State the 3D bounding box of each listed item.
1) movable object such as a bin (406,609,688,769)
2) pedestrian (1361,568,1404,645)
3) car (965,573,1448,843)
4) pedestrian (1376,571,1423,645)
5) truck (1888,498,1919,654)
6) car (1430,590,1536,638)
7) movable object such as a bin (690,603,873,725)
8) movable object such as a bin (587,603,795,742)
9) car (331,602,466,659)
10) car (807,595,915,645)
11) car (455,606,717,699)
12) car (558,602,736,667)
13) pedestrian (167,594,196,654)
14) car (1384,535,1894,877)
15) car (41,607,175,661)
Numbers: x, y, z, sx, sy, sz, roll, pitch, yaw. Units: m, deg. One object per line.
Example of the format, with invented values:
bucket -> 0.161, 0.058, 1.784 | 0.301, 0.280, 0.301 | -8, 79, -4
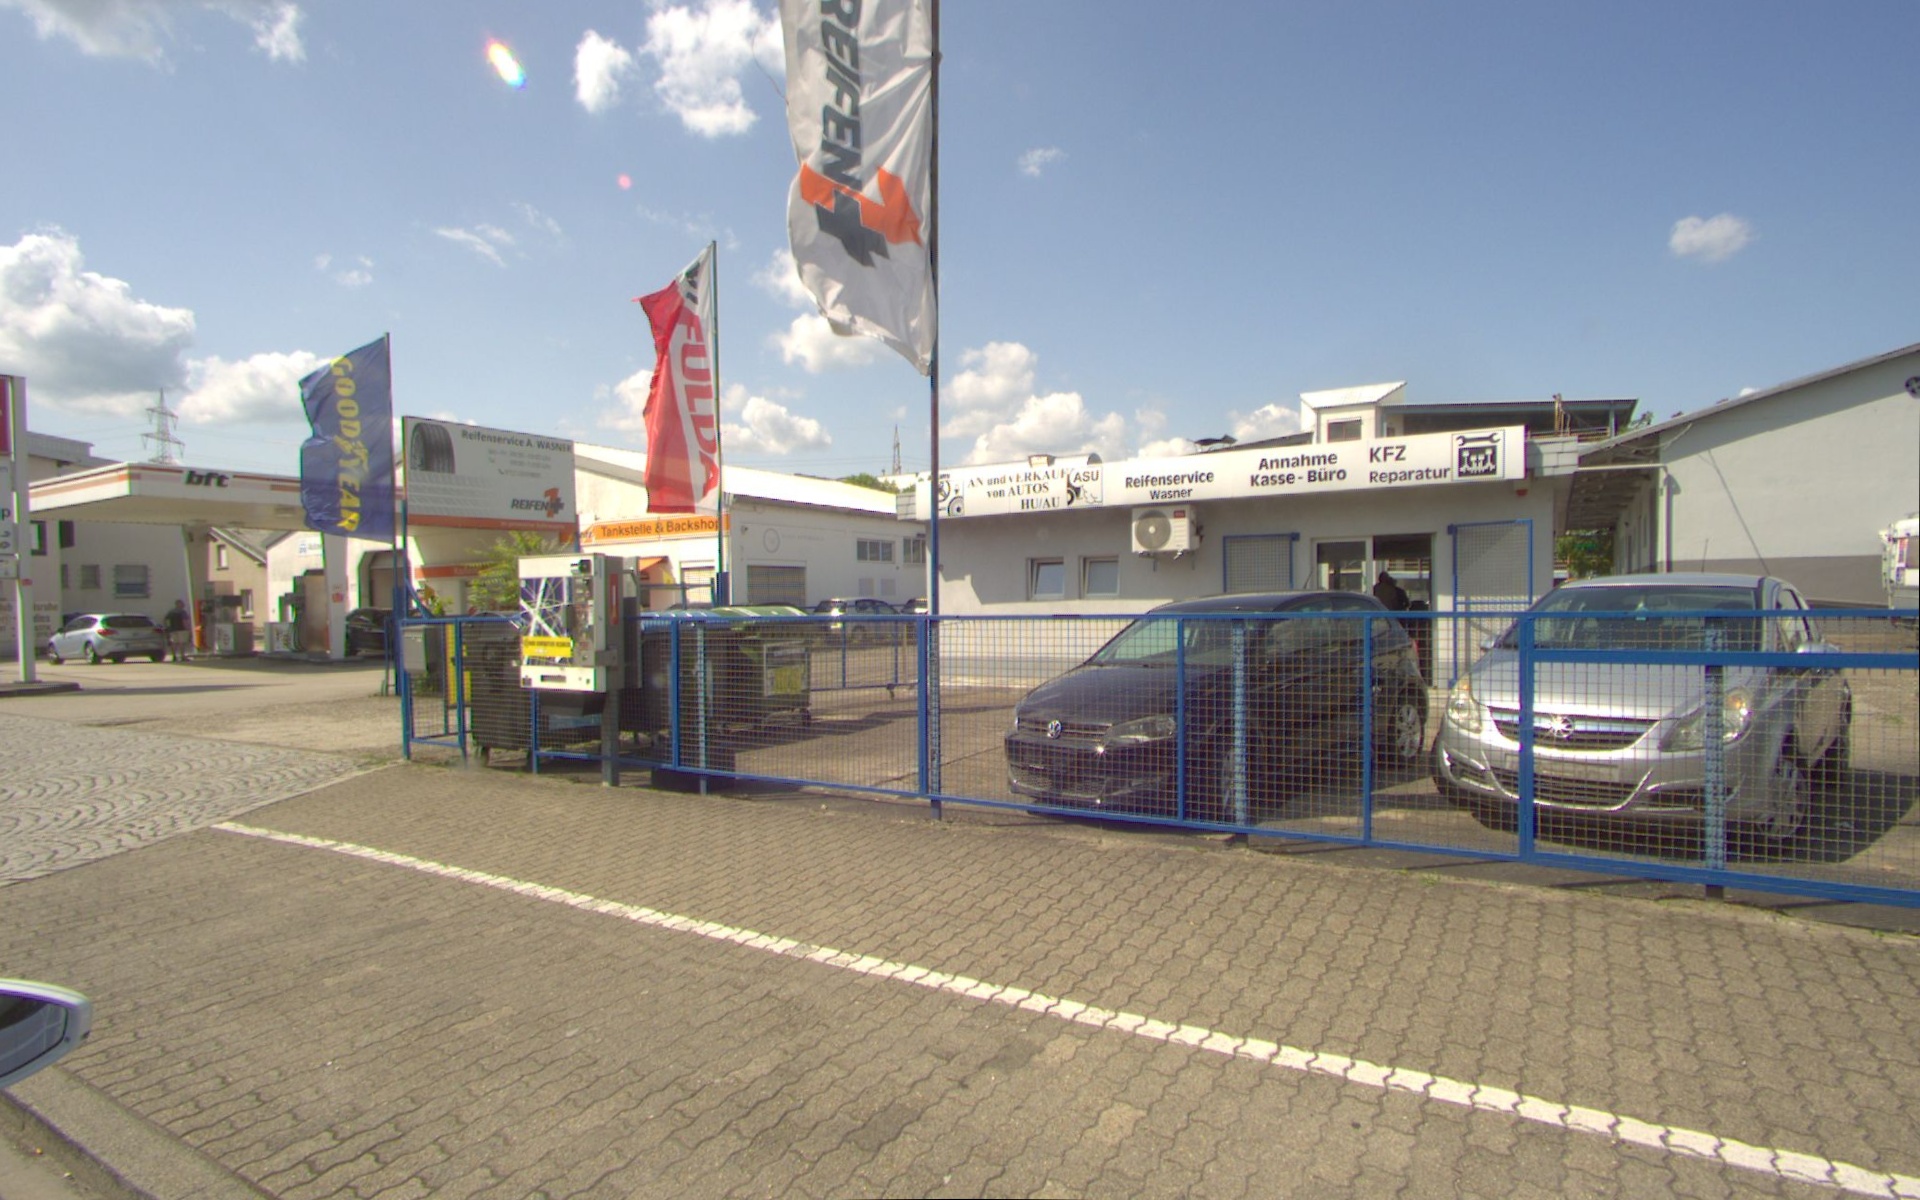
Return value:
movable object such as a bin -> -3.998, 0.811, 9.833 | 1.684, 1.364, 1.960 | -1, -2, 31
pedestrian -> 7.437, 0.135, 17.628 | 0.625, 1.318, 0.697 | -1, -1, 29
car -> 2.023, 0.599, 7.532 | 3.867, 1.482, 1.611 | -2, 0, -42
pedestrian -> 8.076, 0.161, 18.405 | 0.690, 1.318, 0.632 | -1, -2, 33
truck -> 21.473, -0.539, 19.203 | 5.014, 3.049, 2.149 | -1, 1, 31
car -> 20.230, 0.543, 38.762 | 3.545, 1.764, 1.534 | 0, -1, 31
movable object such as a bin -> -2.266, 0.788, 12.786 | 1.740, 1.428, 1.530 | -1, -2, 31
movable object such as a bin -> -3.036, 0.783, 11.391 | 1.740, 1.428, 1.530 | -1, -2, 31
car -> -17.064, 0.864, 30.363 | 4.427, 1.540, 1.679 | 1, 1, 32
car -> -3.076, 0.619, 31.766 | 1.507, 1.443, 3.574 | -1, 0, 33
car -> -6.361, 0.849, 17.397 | 1.627, 1.426, 4.037 | -1, -1, 39
car -> -7.850, 0.818, 25.476 | 1.747, 1.443, 4.124 | -1, 0, 33
pedestrian -> -23.738, 0.741, 30.541 | 0.569, 1.799, 0.496 | -1, -1, 30
car -> 4.642, 0.546, 6.571 | 4.219, 1.524, 1.811 | 2, -2, -42
car -> -25.926, 1.028, 30.448 | 4.357, 1.490, 1.689 | -2, 1, 30
